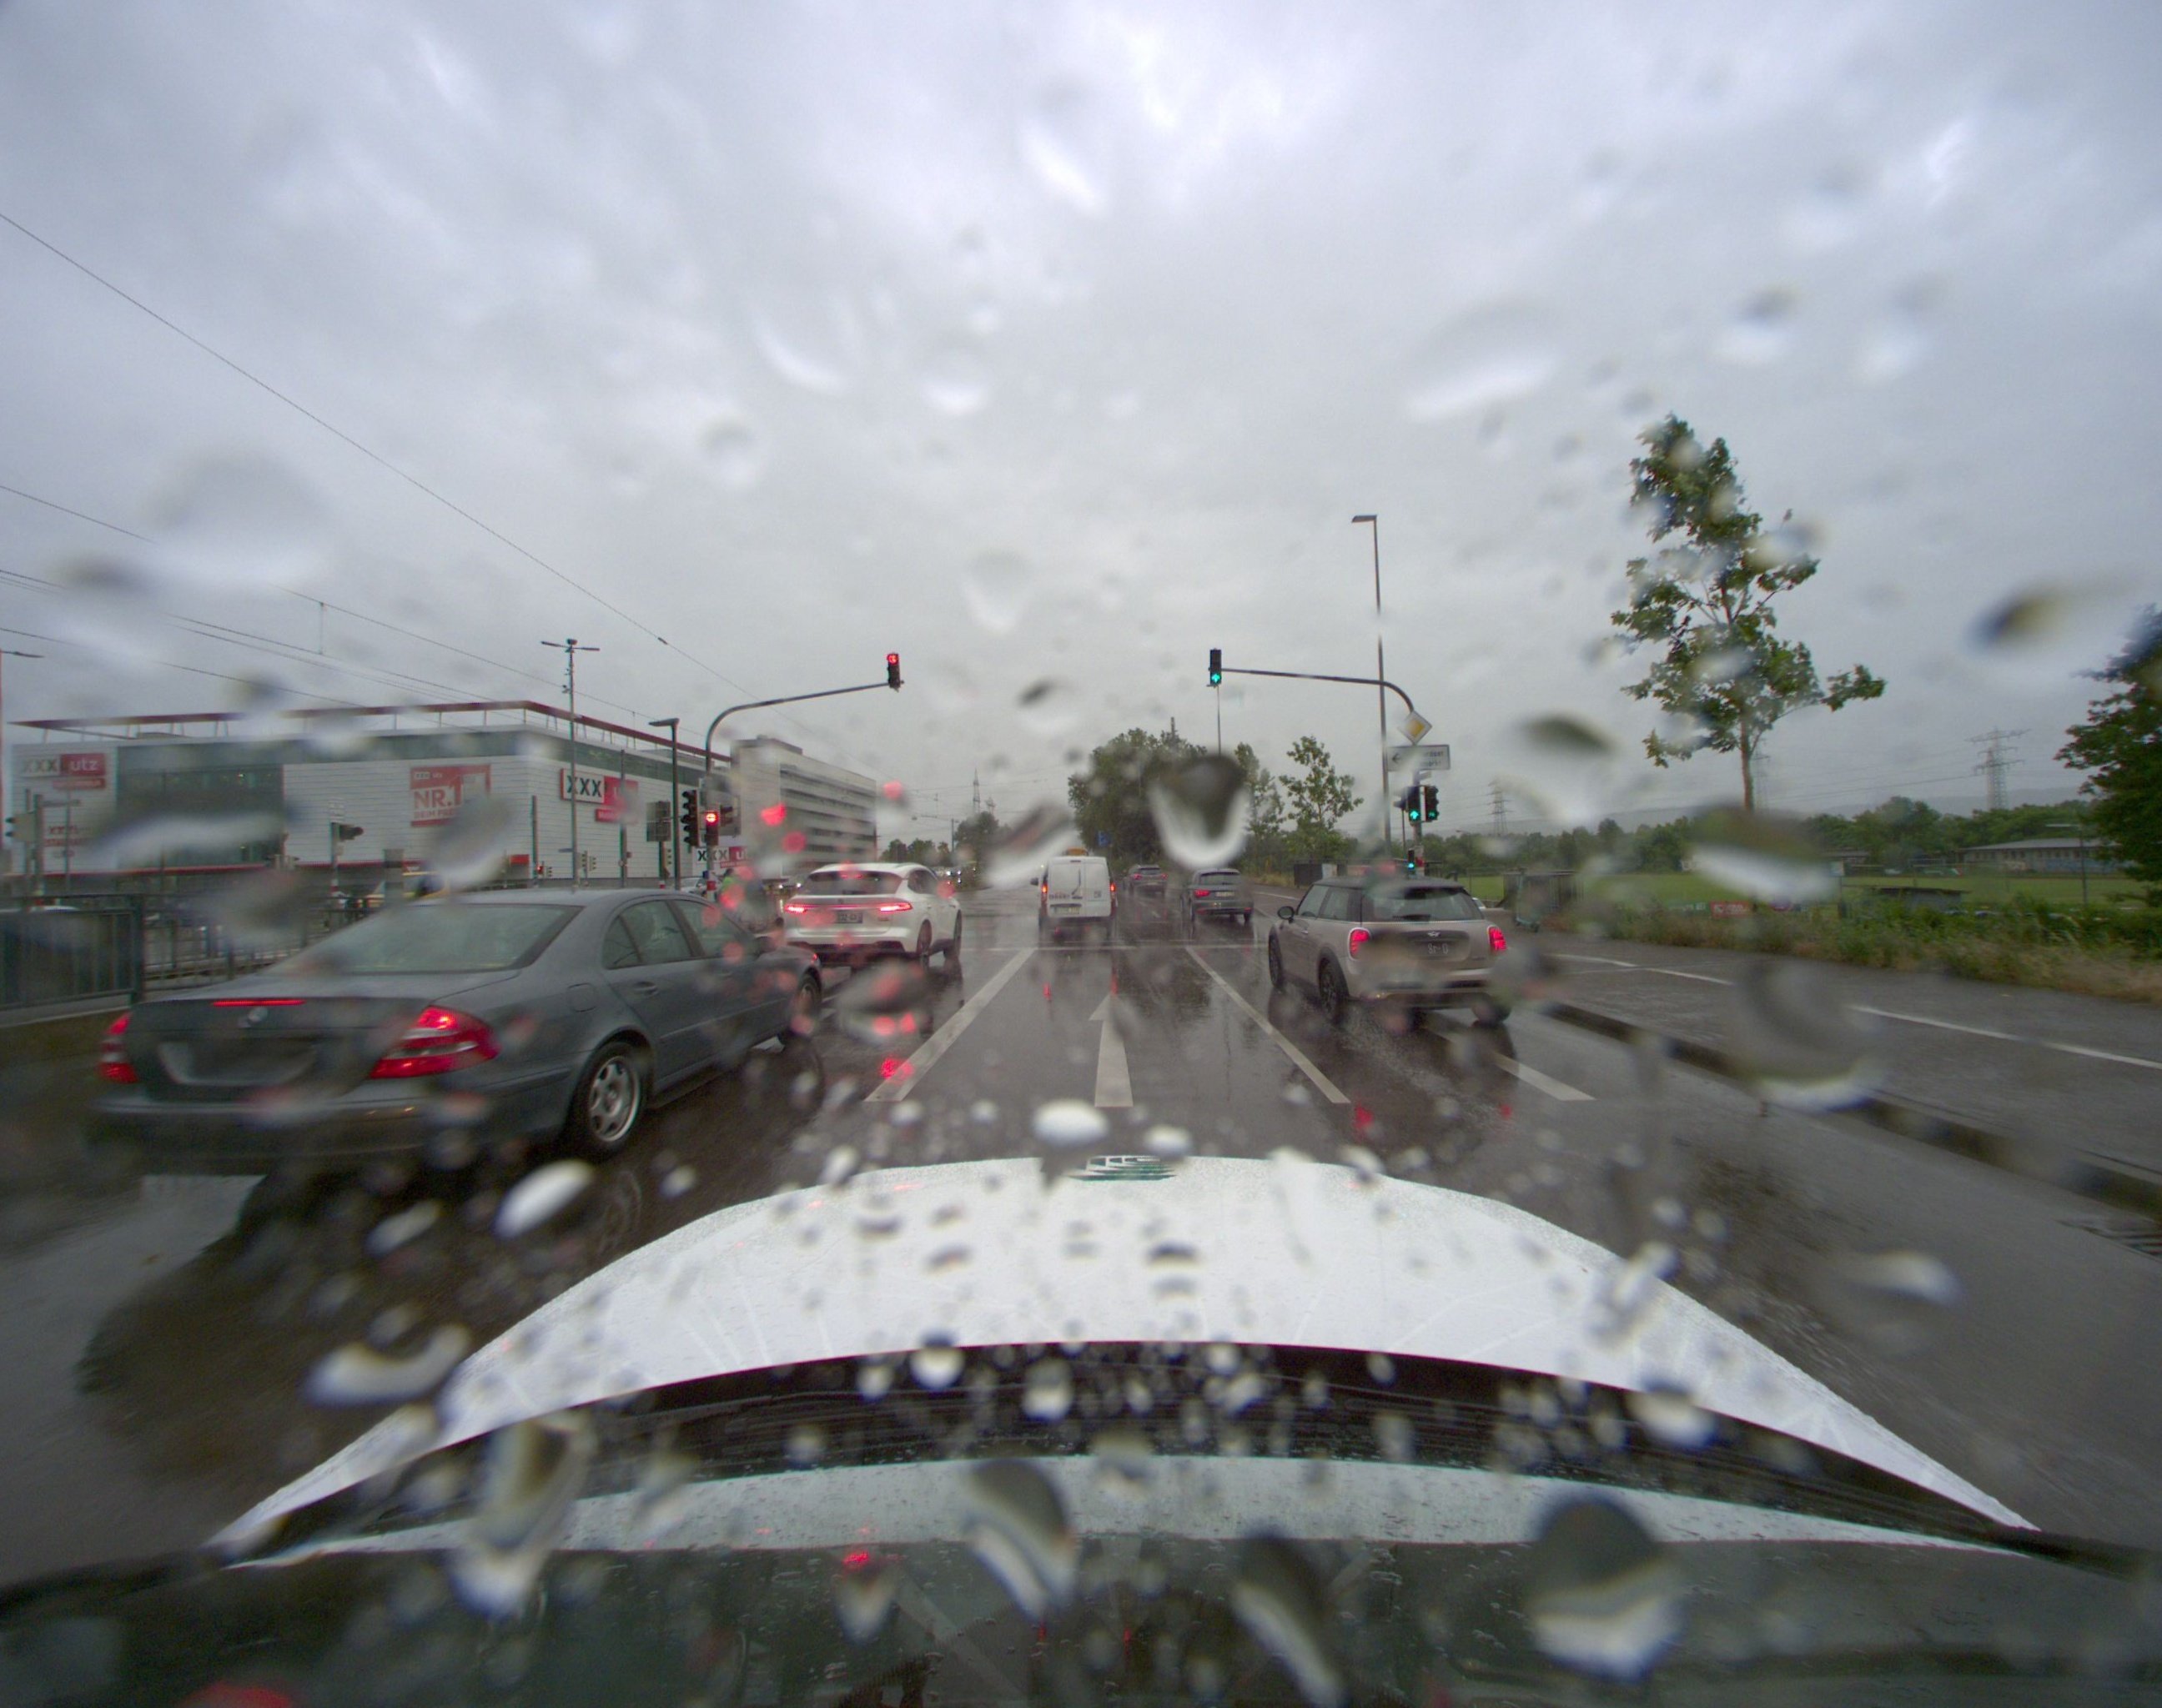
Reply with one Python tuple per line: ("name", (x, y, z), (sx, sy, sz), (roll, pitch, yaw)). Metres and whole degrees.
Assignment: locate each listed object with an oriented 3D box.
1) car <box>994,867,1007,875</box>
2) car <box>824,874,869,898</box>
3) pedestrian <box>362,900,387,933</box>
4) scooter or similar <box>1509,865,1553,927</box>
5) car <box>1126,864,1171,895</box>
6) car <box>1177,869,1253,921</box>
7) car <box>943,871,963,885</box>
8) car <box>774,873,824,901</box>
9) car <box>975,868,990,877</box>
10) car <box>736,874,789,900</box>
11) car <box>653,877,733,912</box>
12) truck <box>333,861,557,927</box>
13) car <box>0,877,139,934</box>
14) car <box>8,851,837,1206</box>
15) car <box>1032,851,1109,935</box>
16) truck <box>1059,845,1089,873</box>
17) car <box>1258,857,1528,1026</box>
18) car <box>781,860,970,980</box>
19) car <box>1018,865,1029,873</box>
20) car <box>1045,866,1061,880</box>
("car", (-16.864, 3.522, 170.750), (1.984, 1.587, 4.004), (0, -2, 4))
("car", (-18.163, 2.463, 63.172), (1.919, 1.827, 4.008), (-1, -2, 7))
("pedestrian", (-32.705, 2.870, 37.718), (0.561, 1.497, 0.650), (0, -2, 1))
("scooter or similar", (8.629, 0.791, 15.655), (0.244, 1.158, 1.187), (0, -2, 4))
("car", (3.253, 1.224, 39.862), (1.854, 1.429, 3.806), (0, -1, -1))
("car", (3.678, 1.098, 22.907), (1.623, 1.344, 3.624), (0, -1, 1))
("car", (-16.664, 3.107, 106.212), (1.815, 1.807, 3.773), (0, -2, 4))
("car", (-19.290, 2.275, 55.842), (1.837, 1.798, 4.003), (-1, -3, 4))
("car", (-17.874, 3.347, 148.341), (1.984, 1.663, 4.004), (0, -2, 4))
("car", (-21.703, 2.277, 55.630), (1.720, 1.661, 3.545), (0, -4, 9))
("car", (-19.989, 2.067, 42.182), (1.882, 1.699, 4.007), (-1, -2, 7))
("truck", (-24.683, 1.492, 32.267), (2.340, 2.279, 7.643), (0, -2, 5))
("car", (-37.834, 1.853, 29.867), (4.297, 2.014, 2.001), (0, -2, 2))
("car", (-3.307, 0.766, 5.564), (1.756, 1.399, 4.646), (0, -2, 2))
("car", (-0.162, 0.879, 19.380), (1.560, 1.788, 4.002), (-1, -1, 3))
("truck", (-0.821, 0.567, 87.036), (2.628, 2.816, 7.131), (0, -2, -5))
("car", (3.192, 0.820, 9.118), (1.707, 1.508, 3.625), (0, -1, 1))
("car", (-2.936, 0.875, 12.613), (1.722, 1.535, 4.299), (0, -1, 2))
("car", (-13.634, 3.478, 192.103), (1.984, 1.757, 4.004), (0, -2, 4))
("car", (-3.786, 2.554, 108.977), (1.989, 1.860, 3.994), (0, -2, -4))
